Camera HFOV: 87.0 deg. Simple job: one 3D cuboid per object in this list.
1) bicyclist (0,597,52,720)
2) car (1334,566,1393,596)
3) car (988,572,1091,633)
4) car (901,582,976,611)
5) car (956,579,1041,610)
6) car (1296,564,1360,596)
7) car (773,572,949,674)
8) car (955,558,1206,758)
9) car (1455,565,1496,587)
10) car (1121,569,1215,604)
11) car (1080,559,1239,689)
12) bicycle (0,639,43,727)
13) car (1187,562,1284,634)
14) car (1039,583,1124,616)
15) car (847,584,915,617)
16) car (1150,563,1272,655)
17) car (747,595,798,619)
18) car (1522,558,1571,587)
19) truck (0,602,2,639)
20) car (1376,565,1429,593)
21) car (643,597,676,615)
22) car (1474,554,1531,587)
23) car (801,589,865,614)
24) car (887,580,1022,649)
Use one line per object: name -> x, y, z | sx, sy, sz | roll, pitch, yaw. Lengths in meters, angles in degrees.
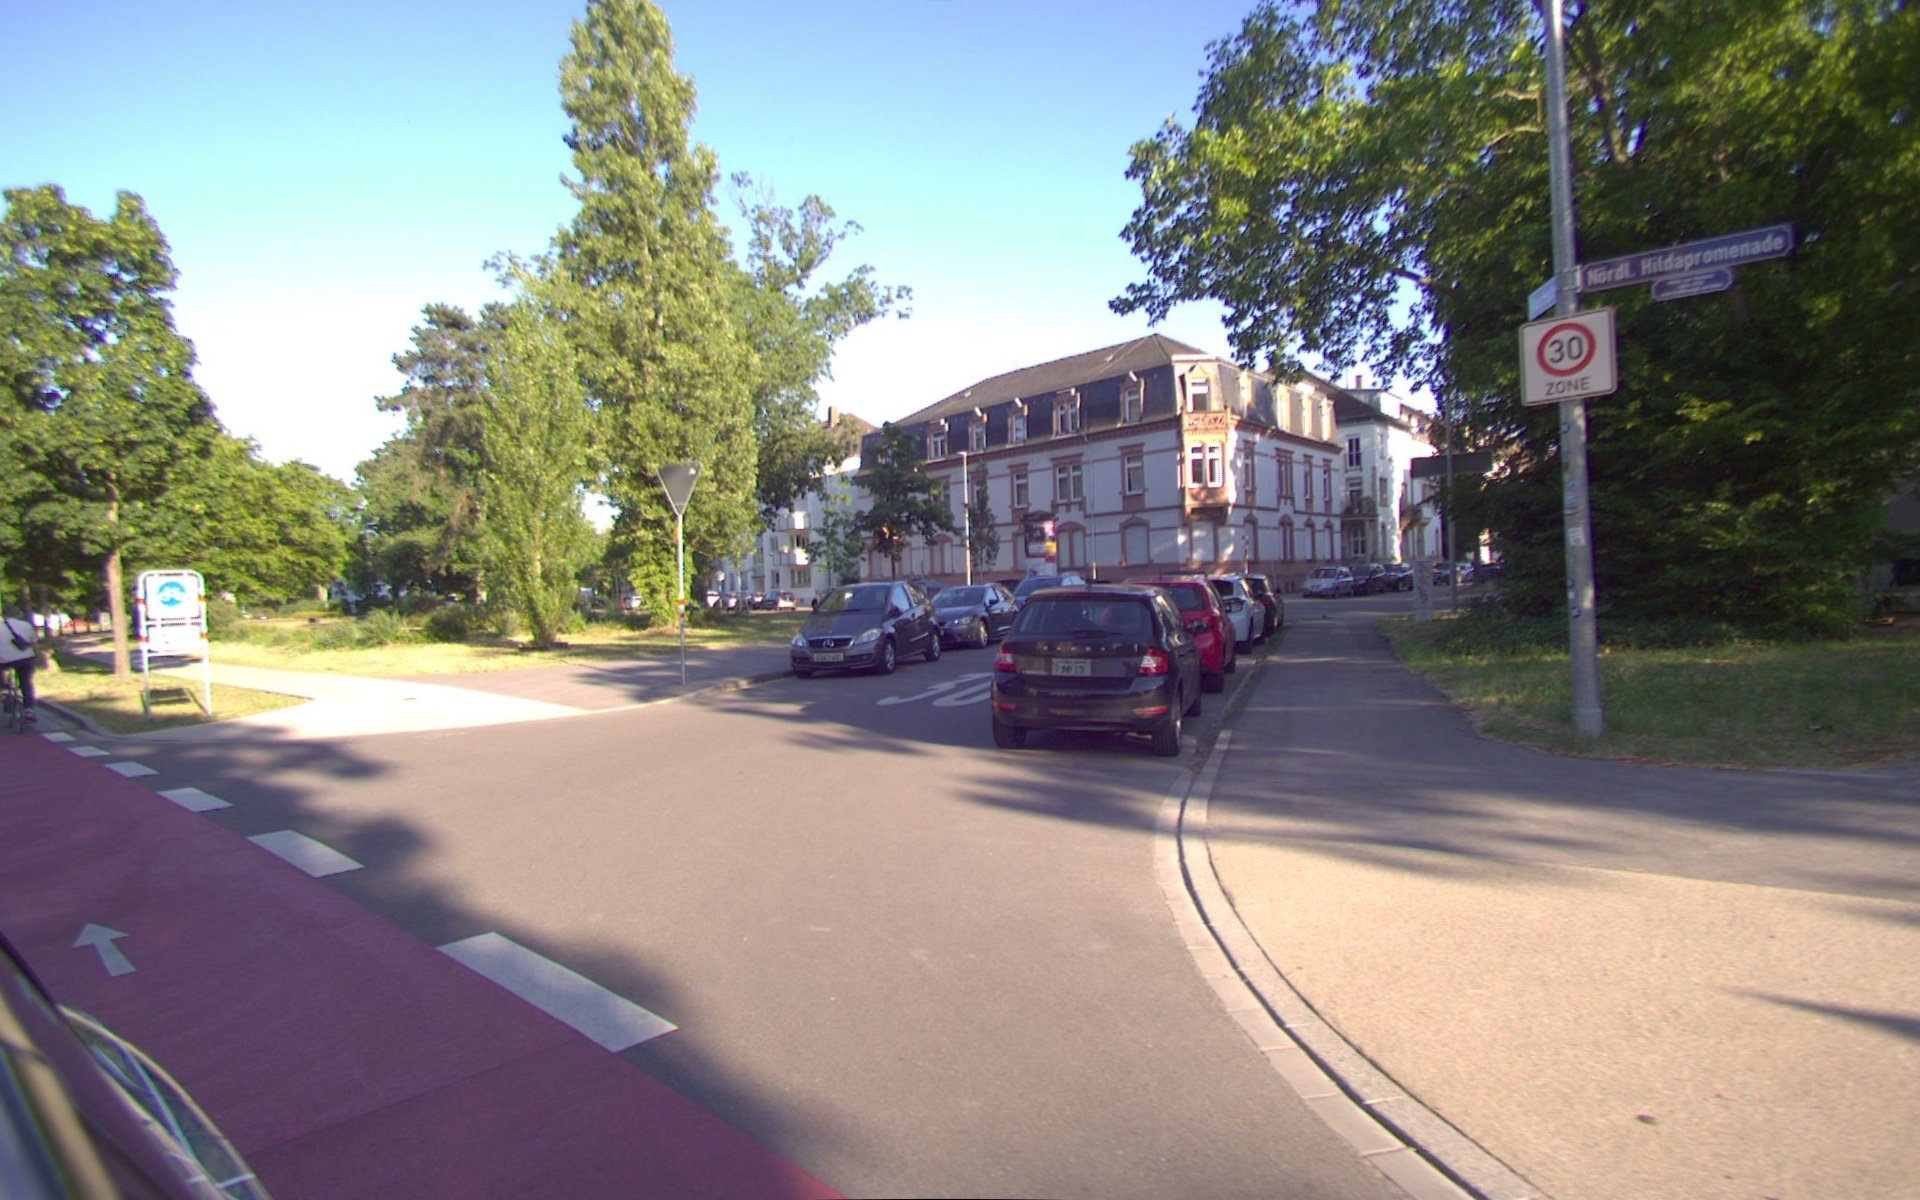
bicyclist -> -13.810, 0.838, 14.642 | 0.926, 1.715, 0.907 | -3, 1, -42
car -> 22.400, -1.067, 56.121 | 1.890, 1.585, 3.946 | 1, 2, 41
car -> 2.431, 0.037, 29.897 | 1.827, 1.656, 4.246 | -1, 1, 22
car -> -1.303, -0.221, 59.514 | 1.862, 1.585, 4.606 | -2, 2, -41
car -> 2.080, -0.315, 55.506 | 4.602, 1.585, 1.863 | 1, 3, 45
car -> 19.210, -1.067, 52.711 | 1.890, 1.585, 3.946 | 1, 2, 41
car -> -1.666, 0.352, 18.438 | 1.824, 1.643, 3.825 | -1, 1, 17
car -> 1.415, 0.396, 10.185 | 1.874, 1.585, 3.979 | 0, 2, 16
car -> 38.766, -1.849, 76.137 | 1.890, 1.585, 3.946 | 1, 2, 41
car -> 9.884, -0.654, 48.183 | 3.998, 1.585, 1.865 | 1, 2, 41
car -> 2.982, 0.230, 14.475 | 1.874, 1.585, 3.979 | 0, 2, 16
bicycle -> -13.780, 1.169, 14.630 | 0.729, 1.144, 2.107 | -3, 1, -42
car -> 6.695, -0.115, 24.324 | 1.877, 1.585, 3.972 | 0, 2, 21
car -> 6.134, -0.058, 51.345 | 4.001, 1.585, 1.864 | 1, 2, 44
car -> -5.037, -0.009, 63.870 | 1.860, 1.907, 4.987 | -2, 2, -38
car -> 4.977, 0.081, 19.674 | 1.877, 1.585, 3.973 | 0, 2, 20
car -> -14.050, 0.491, 75.649 | 1.860, 1.585, 4.609 | -2, 2, -38
car -> 34.101, -1.616, 58.807 | 1.889, 1.585, 3.948 | 1, 2, 39
truck -> -88.036, 1.915, 90.152 | 2.974, 3.468, 7.640 | -2, 1, -37
car -> 26.691, -1.262, 61.015 | 1.890, 1.585, 3.946 | 1, 2, 41
car -> -28.549, 0.531, 96.116 | 1.859, 1.585, 4.613 | -2, 2, -31
car -> 27.700, -1.514, 51.660 | 1.889, 1.585, 3.948 | 1, 2, 39
car -> -8.629, 0.052, 68.535 | 4.602, 1.585, 1.863 | 1, 3, 45
car -> -0.012, 0.276, 23.577 | 1.825, 1.411, 4.250 | -1, 1, 19
